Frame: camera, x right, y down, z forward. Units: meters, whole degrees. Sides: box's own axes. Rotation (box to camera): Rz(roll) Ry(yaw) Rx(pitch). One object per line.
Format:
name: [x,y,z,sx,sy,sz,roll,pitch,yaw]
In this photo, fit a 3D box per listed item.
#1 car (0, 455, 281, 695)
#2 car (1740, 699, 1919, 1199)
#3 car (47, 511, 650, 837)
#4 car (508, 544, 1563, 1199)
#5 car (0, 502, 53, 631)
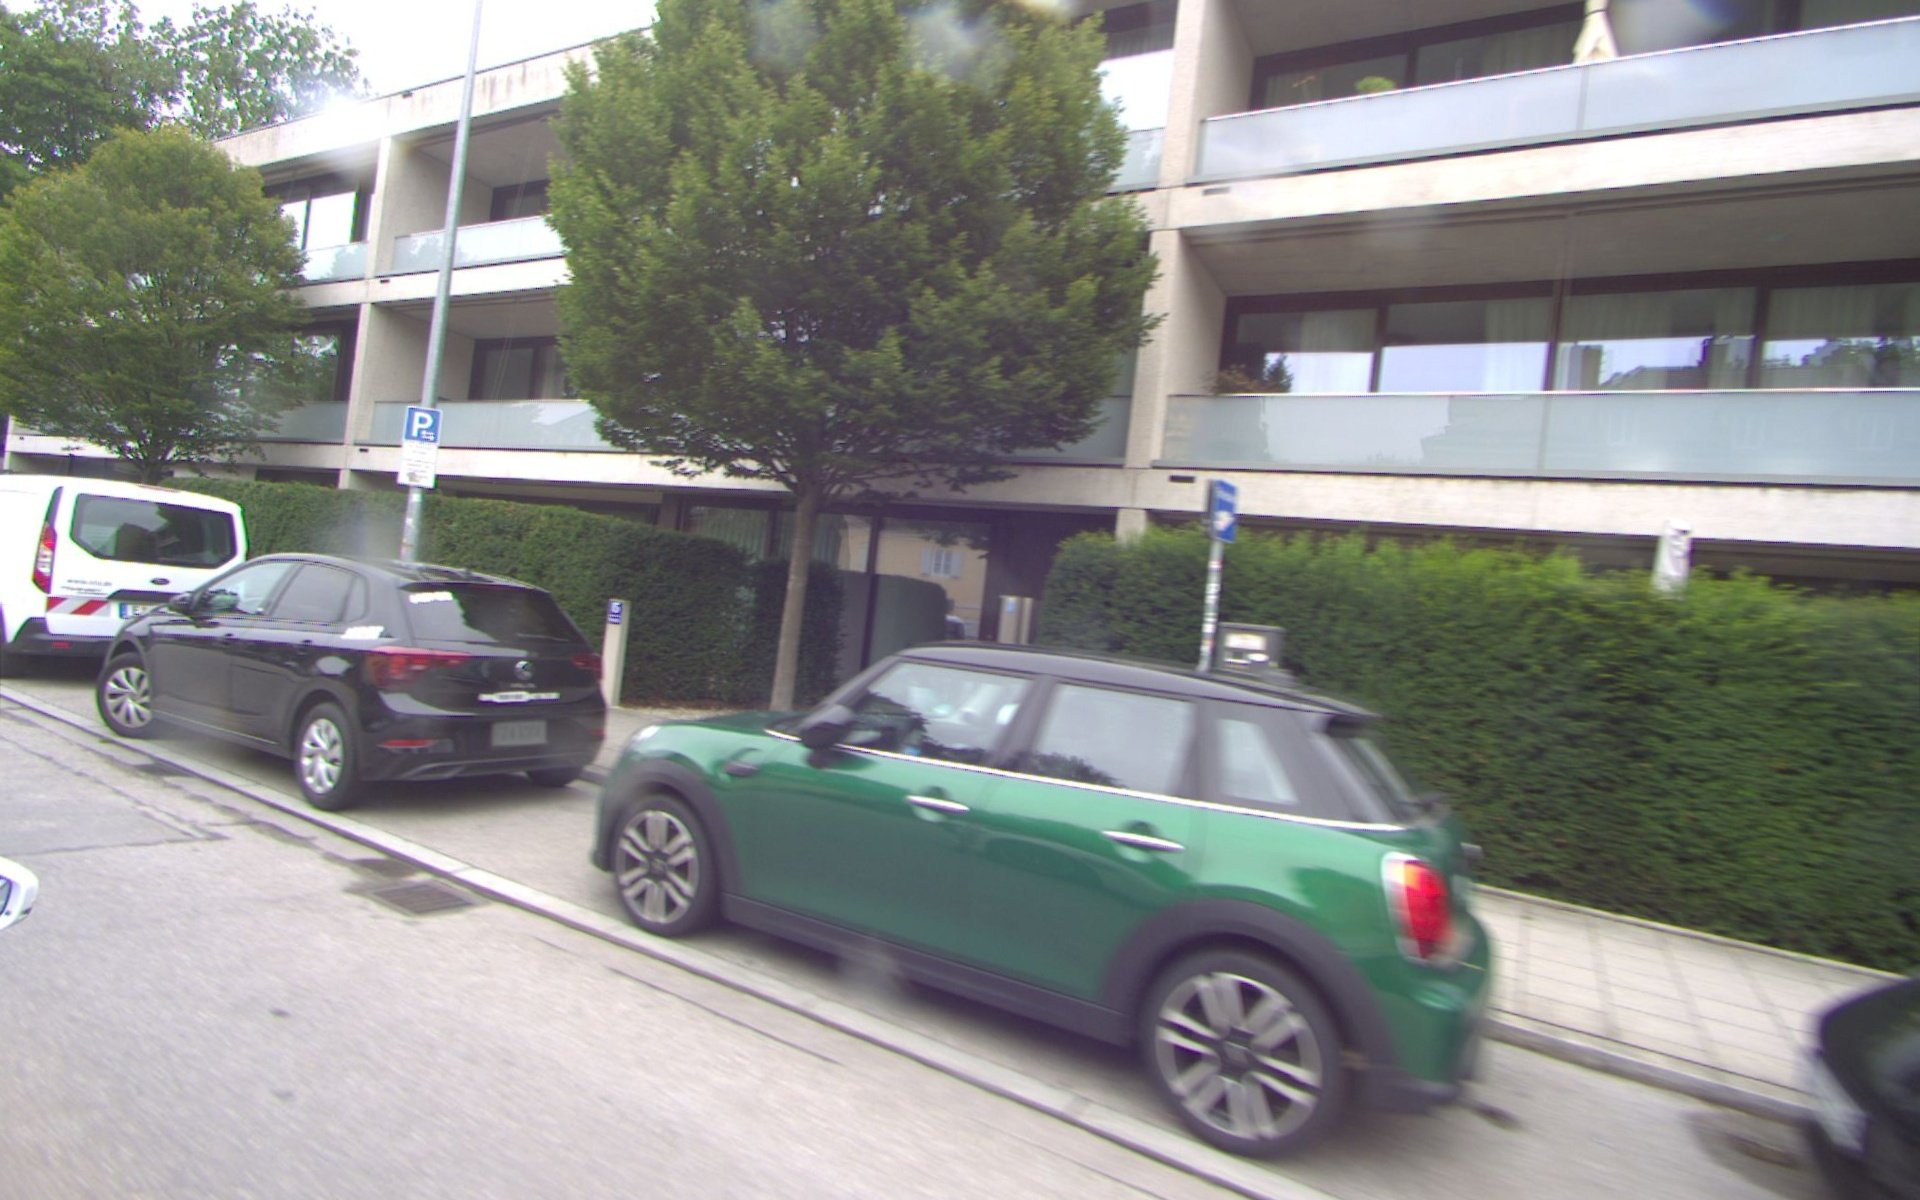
car: [-9.193,-0.362,10.211,4.817,1.881,1.826,7,-2,32]
car: [4.629,1.339,1.563,5.119,1.525,1.282,7,2,30]
car: [-4.387,0.361,7.070,4.171,1.481,1.751,7,-1,30]
car: [0.144,0.772,4.446,4.133,1.548,1.729,7,1,30]
car: [-13.586,-0.690,12.722,4.520,1.497,1.752,7,-2,30]
